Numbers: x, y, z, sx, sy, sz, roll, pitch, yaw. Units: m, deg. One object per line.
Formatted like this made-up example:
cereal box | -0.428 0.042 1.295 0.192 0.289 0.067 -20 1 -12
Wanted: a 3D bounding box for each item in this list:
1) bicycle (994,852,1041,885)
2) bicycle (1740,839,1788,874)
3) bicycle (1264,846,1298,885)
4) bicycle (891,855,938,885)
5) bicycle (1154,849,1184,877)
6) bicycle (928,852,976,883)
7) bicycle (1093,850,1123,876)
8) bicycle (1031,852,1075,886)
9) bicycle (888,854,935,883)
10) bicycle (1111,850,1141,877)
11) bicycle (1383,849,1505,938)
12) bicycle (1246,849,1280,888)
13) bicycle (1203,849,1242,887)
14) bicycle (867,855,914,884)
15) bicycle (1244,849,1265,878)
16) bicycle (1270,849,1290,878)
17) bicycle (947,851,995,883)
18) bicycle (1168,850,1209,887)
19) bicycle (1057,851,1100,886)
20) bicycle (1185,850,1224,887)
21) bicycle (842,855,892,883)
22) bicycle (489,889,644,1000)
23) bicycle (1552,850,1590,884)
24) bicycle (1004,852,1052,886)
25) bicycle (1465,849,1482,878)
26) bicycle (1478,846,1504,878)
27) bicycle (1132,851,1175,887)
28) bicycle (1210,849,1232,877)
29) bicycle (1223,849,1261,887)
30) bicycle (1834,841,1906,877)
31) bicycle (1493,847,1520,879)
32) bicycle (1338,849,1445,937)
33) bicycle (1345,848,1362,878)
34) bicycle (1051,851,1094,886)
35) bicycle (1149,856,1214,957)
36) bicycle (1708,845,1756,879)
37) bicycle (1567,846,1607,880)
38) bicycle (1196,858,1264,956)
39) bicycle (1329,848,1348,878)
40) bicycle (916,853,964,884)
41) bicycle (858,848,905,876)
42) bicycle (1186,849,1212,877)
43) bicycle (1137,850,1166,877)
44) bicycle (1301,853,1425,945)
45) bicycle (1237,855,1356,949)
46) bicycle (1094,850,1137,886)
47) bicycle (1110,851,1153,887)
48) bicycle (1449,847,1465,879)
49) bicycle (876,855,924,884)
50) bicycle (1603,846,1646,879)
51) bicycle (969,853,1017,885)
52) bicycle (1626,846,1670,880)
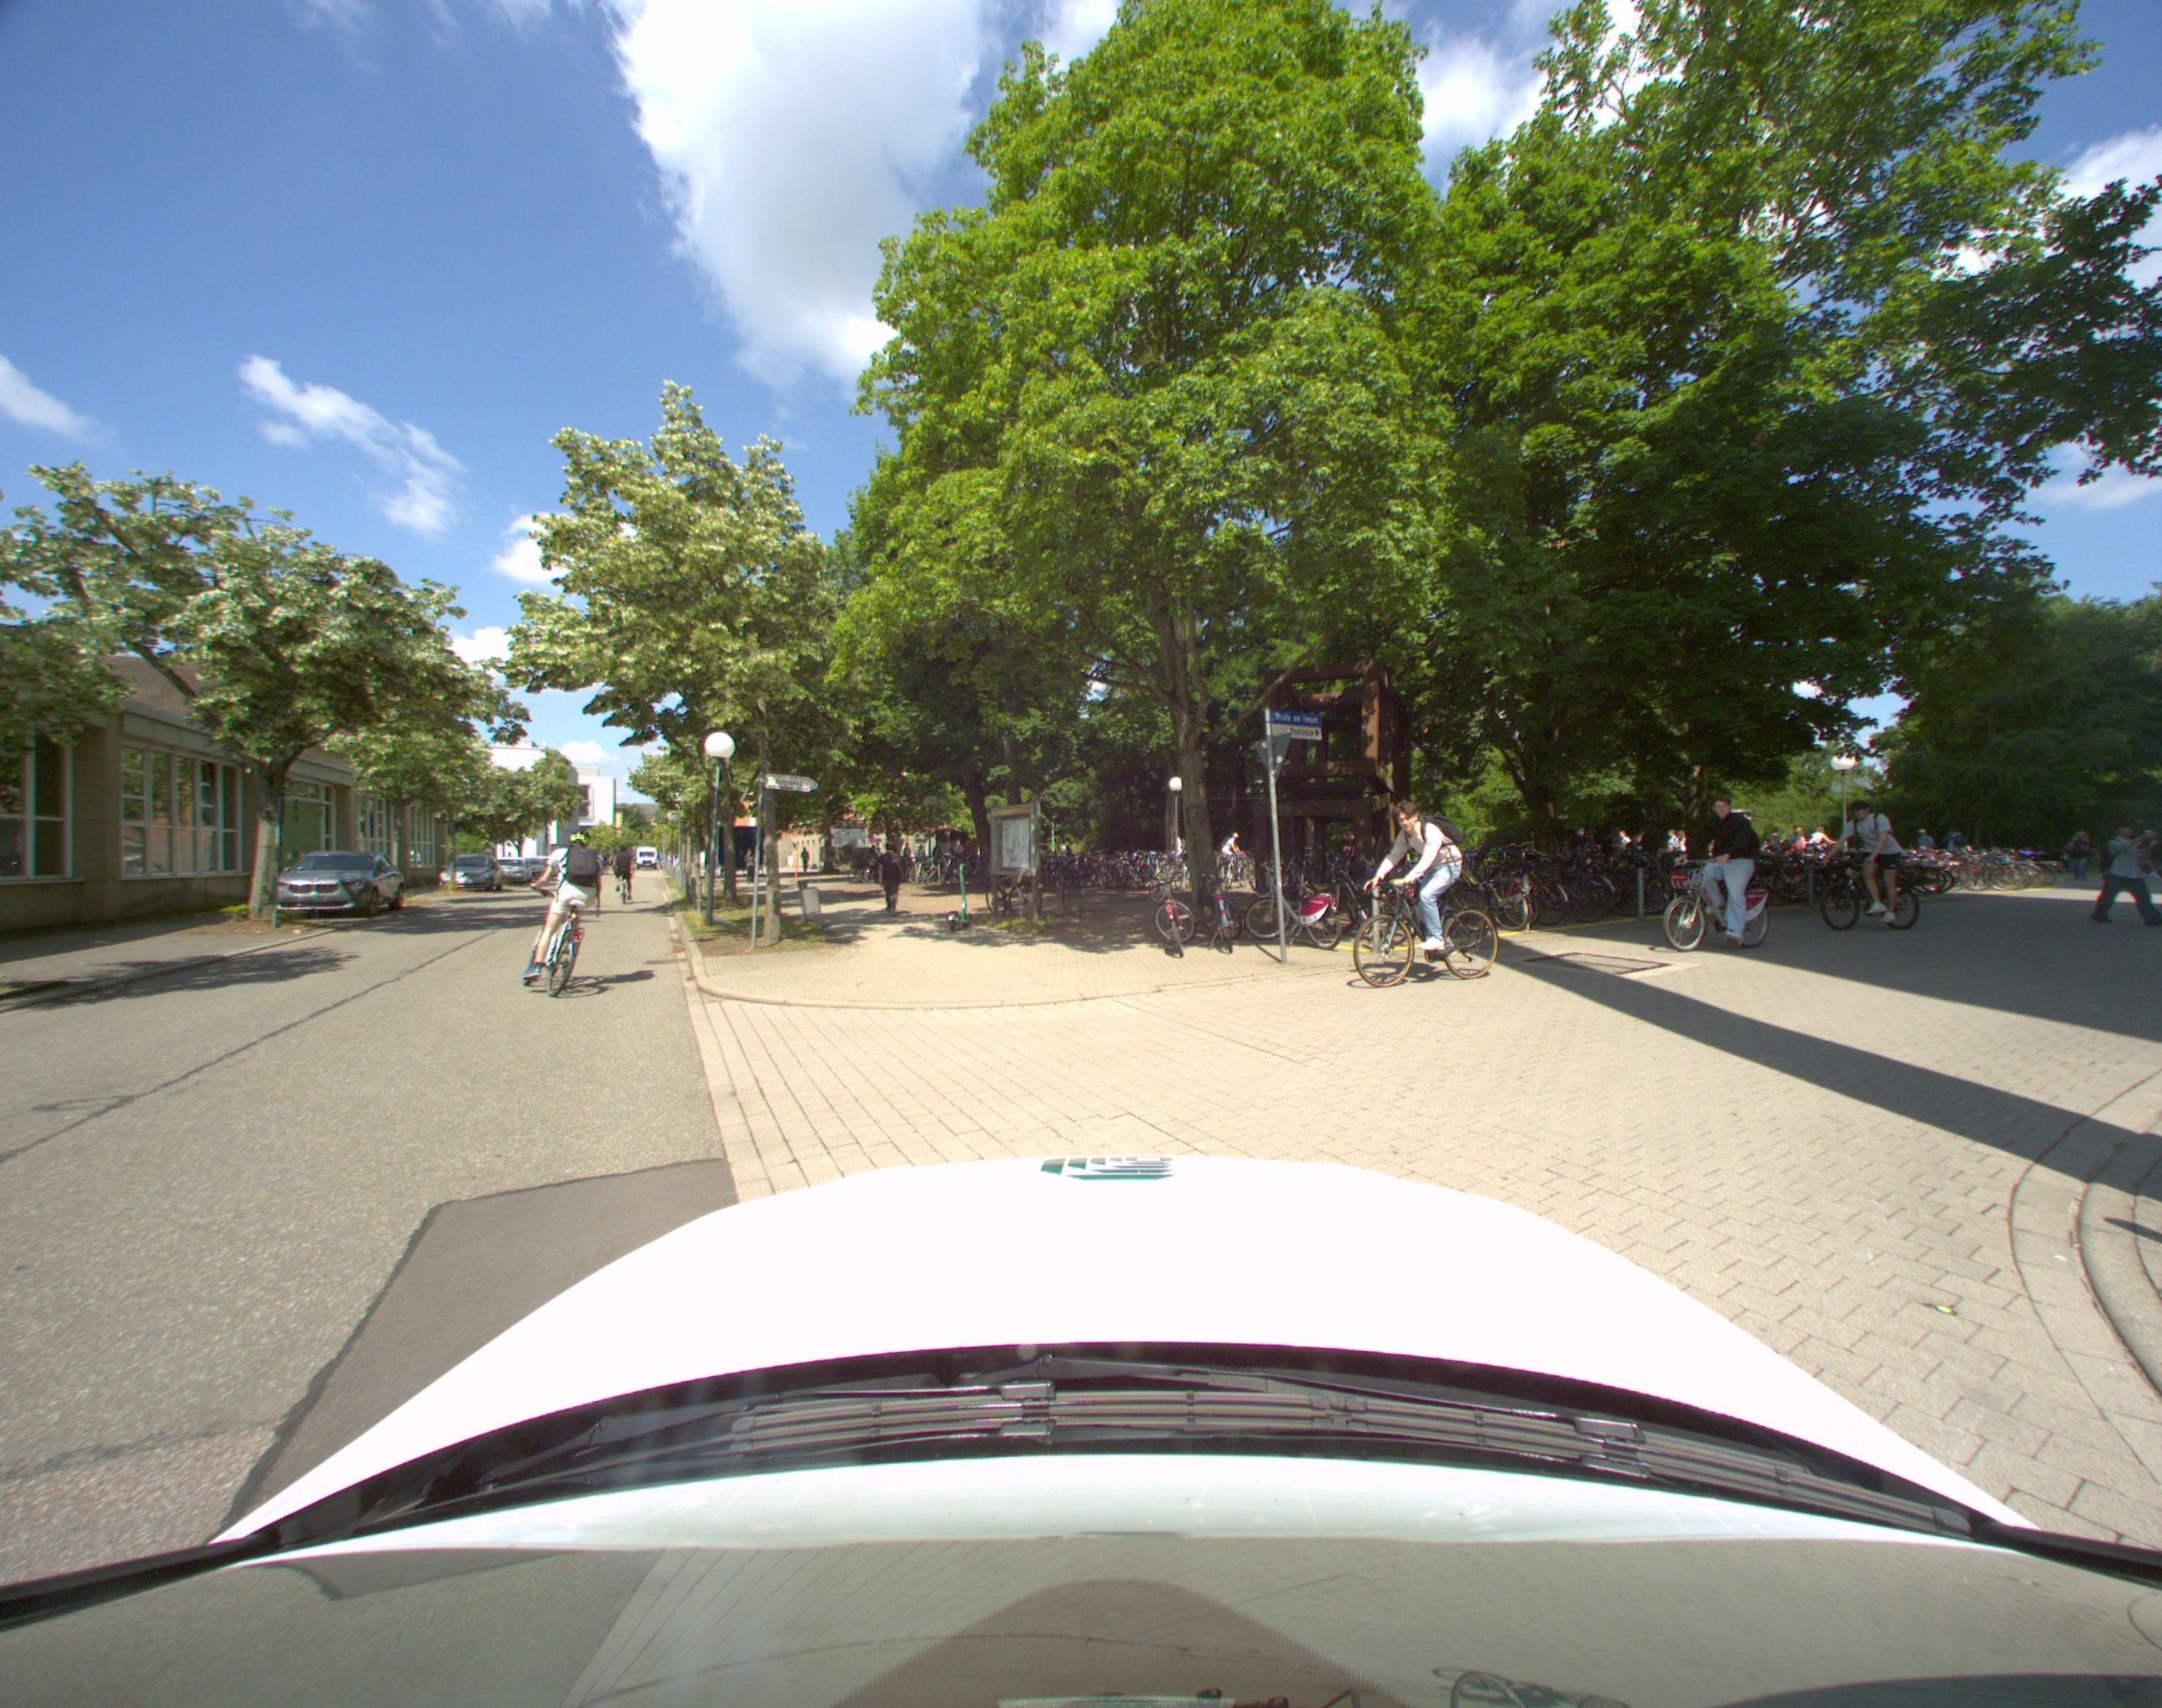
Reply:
bicycle | -2.225 0.502 28.806 0.496 1.108 2.043 1 1 35
bicycle | 22.214 0.070 26.523 0.469 1.083 1.706 0 1 14
bicycle | 6.029 0.315 24.465 0.496 1.108 1.918 1 1 29
bicycle | -6.490 0.598 31.817 0.496 1.108 2.043 1 1 35
bicycle | 3.602 0.363 33.288 0.468 1.083 1.710 1 1 33
bicycle | -4.813 0.499 30.558 0.496 1.108 2.043 1 1 35
bicycle | 1.186 0.385 35.019 0.468 1.083 1.710 1 1 33
bicycle | -0.937 0.482 27.920 0.496 1.108 2.043 1 1 29
bicycle | -6.641 0.557 32.029 0.496 1.108 2.043 1 1 35
bicycle | 1.925 0.383 34.658 0.468 1.083 1.710 1 1 33
bicycle | 4.919 0.492 11.152 0.497 1.108 1.617 0 1 -23
bicycle | 5.522 0.410 24.655 0.496 1.108 1.918 1 1 29
bicycle | 4.367 0.405 25.087 0.496 1.108 1.919 1 1 32
bicycle | -7.680 0.596 32.943 0.496 1.108 2.043 1 1 35
bicycle | 6.788 0.349 31.822 0.468 1.083 1.709 1 1 23
bicycle | 7.660 0.344 31.348 0.468 1.083 1.709 1 1 23
bicycle | -4.052 0.459 30.226 0.496 1.108 2.043 1 1 35
bicycle | 3.408 0.444 25.755 0.496 1.108 2.018 1 1 32
bicycle | -0.071 0.463 27.436 0.496 1.108 2.043 1 1 29
bicycle | 3.886 0.432 25.512 0.496 1.108 1.919 1 1 32
bicycle | -8.929 0.617 34.043 0.496 1.108 2.043 1 1 43
bicycle | -5.839 0.973 9.201 2.045 1.108 0.609 -1 0 31
bicycle | 16.643 0.419 27.702 0.470 1.083 1.703 0 1 7
bicycle | -1.836 0.509 28.432 0.496 1.108 2.043 1 1 35
bicycle | 13.698 0.305 28.439 0.446 0.962 1.750 1 1 23
bicycle | 14.291 0.269 28.427 0.469 1.083 1.706 0 1 15
bicycle | 2.336 0.453 26.067 0.496 1.108 2.018 1 1 32
bicycle | 5.586 0.355 32.380 0.468 1.083 1.709 1 1 23
bicycle | 4.976 0.419 25.054 0.496 1.108 1.919 1 1 32
bicycle | 25.615 0.142 26.474 0.473 1.110 1.691 0 1 -15
bicycle | 14.812 0.302 28.382 0.469 1.083 1.706 0 1 15
bicycle | 4.278 0.497 11.347 0.496 1.108 1.621 -2 1 -16
bicycle | 10.074 0.314 30.108 0.468 1.083 1.709 1 1 23
bicycle | -0.269 0.469 27.550 0.496 1.108 2.043 1 1 29
bicycle | 1.275 0.639 10.634 0.635 1.159 1.630 -2 1 1
bicycle | 21.427 0.254 26.839 0.469 1.083 1.705 0 1 10
bicycle | 17.174 0.289 27.666 0.470 1.083 1.703 0 1 7
bicycle | 1.917 0.638 10.658 0.586 1.108 1.747 -2 1 2
bicycle | 9.577 0.320 30.264 0.468 1.083 1.709 1 1 23
bicycle | -5.323 0.529 30.917 0.496 1.108 2.043 1 1 35
bicycle | -8.113 0.298 33.226 0.496 1.108 2.043 1 1 35
bicycle | 4.758 0.361 32.797 0.468 1.083 1.710 1 1 28
bicycle | 2.944 0.374 33.972 0.468 1.083 1.710 1 1 33
bicycle | 3.693 0.549 10.784 0.498 1.108 1.615 -3 1 -28
bicycle | 2.768 0.581 10.618 0.498 1.108 1.615 -3 1 -28
bicycle | 1.147 0.444 26.686 0.496 1.108 2.018 1 1 32
bicycle | 1.643 0.459 26.367 0.496 1.108 2.018 1 1 32
bicycle | 13.231 0.297 28.692 0.468 1.083 1.709 1 1 23
bicycle | -7.204 0.594 32.496 0.496 1.108 2.043 1 1 35
bicycle | 18.213 0.271 27.327 0.470 1.083 1.703 0 1 7
bicycle | -3.180 0.511 29.494 0.496 1.108 2.043 1 1 35
bicycle | 18.879 0.271 27.163 0.470 1.083 1.703 0 1 7
